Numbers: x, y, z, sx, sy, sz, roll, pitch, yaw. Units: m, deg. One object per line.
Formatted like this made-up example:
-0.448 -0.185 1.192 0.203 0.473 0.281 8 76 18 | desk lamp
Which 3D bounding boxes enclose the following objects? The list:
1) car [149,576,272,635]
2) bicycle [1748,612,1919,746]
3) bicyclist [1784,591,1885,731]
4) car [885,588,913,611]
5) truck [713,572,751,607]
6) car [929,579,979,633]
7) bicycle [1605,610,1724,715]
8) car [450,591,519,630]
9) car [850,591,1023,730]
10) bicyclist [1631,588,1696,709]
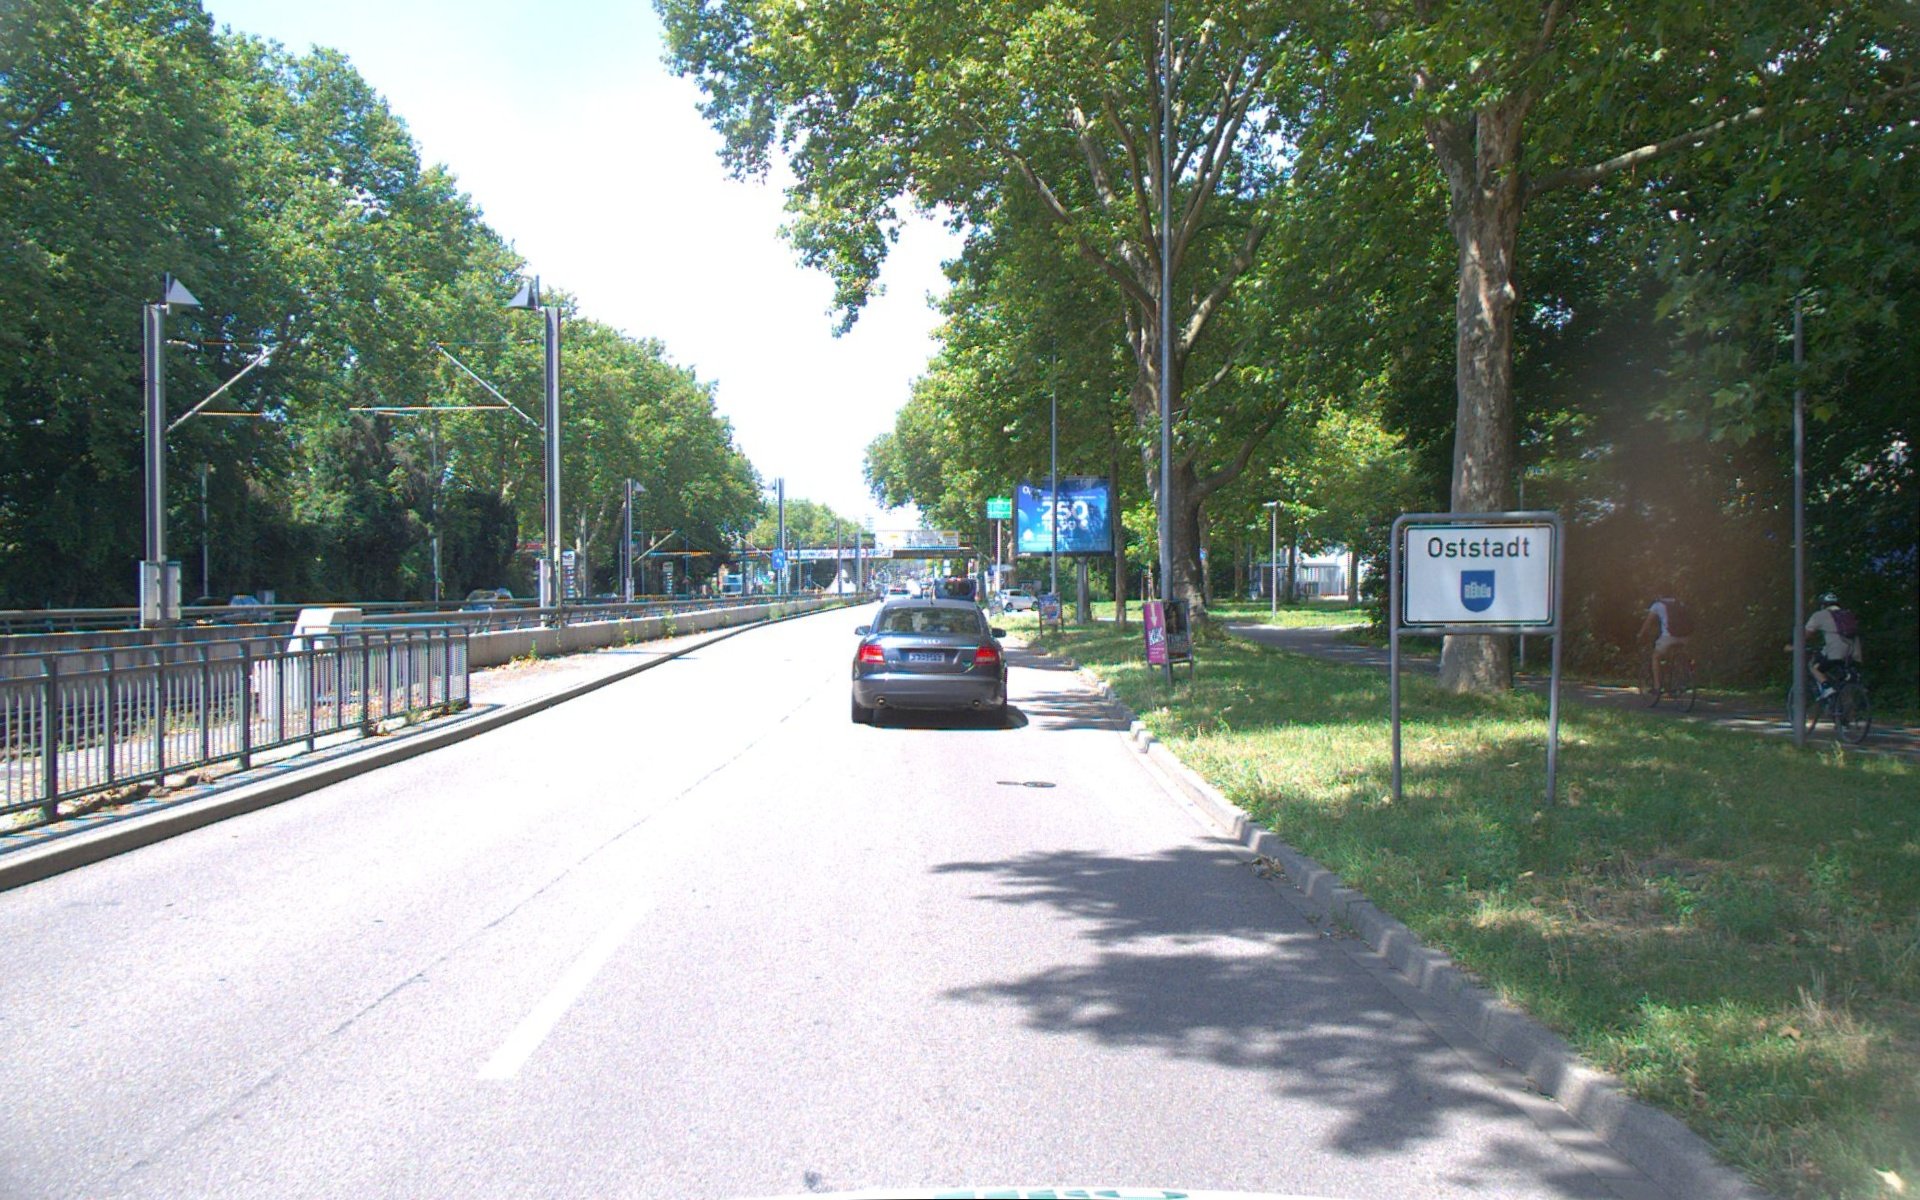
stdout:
-22.812 0.152 50.517 1.708 1.713 4.384 0 0 1 | car
10.401 0.891 19.807 0.598 1.444 2.661 0 0 -1 | bicycle
10.403 0.706 19.700 0.645 1.627 1.053 0 0 -1 | bicyclist
-4.070 -0.060 109.595 1.809 1.489 3.998 0 0 -3 | car
-20.506 -0.974 149.143 2.932 3.073 7.992 0 0 -5 | truck
-0.196 0.226 64.348 1.810 1.993 4.145 1 0 1 | car
10.542 0.902 24.870 0.598 1.444 2.661 0 0 -1 | bicycle
-22.619 0.487 78.843 1.829 1.713 4.384 3 0 1 | car
-0.385 0.652 20.009 1.806 1.510 3.996 0 0 -5 | car
10.513 0.712 24.731 0.585 1.776 0.843 1 0 -1 | bicyclist
